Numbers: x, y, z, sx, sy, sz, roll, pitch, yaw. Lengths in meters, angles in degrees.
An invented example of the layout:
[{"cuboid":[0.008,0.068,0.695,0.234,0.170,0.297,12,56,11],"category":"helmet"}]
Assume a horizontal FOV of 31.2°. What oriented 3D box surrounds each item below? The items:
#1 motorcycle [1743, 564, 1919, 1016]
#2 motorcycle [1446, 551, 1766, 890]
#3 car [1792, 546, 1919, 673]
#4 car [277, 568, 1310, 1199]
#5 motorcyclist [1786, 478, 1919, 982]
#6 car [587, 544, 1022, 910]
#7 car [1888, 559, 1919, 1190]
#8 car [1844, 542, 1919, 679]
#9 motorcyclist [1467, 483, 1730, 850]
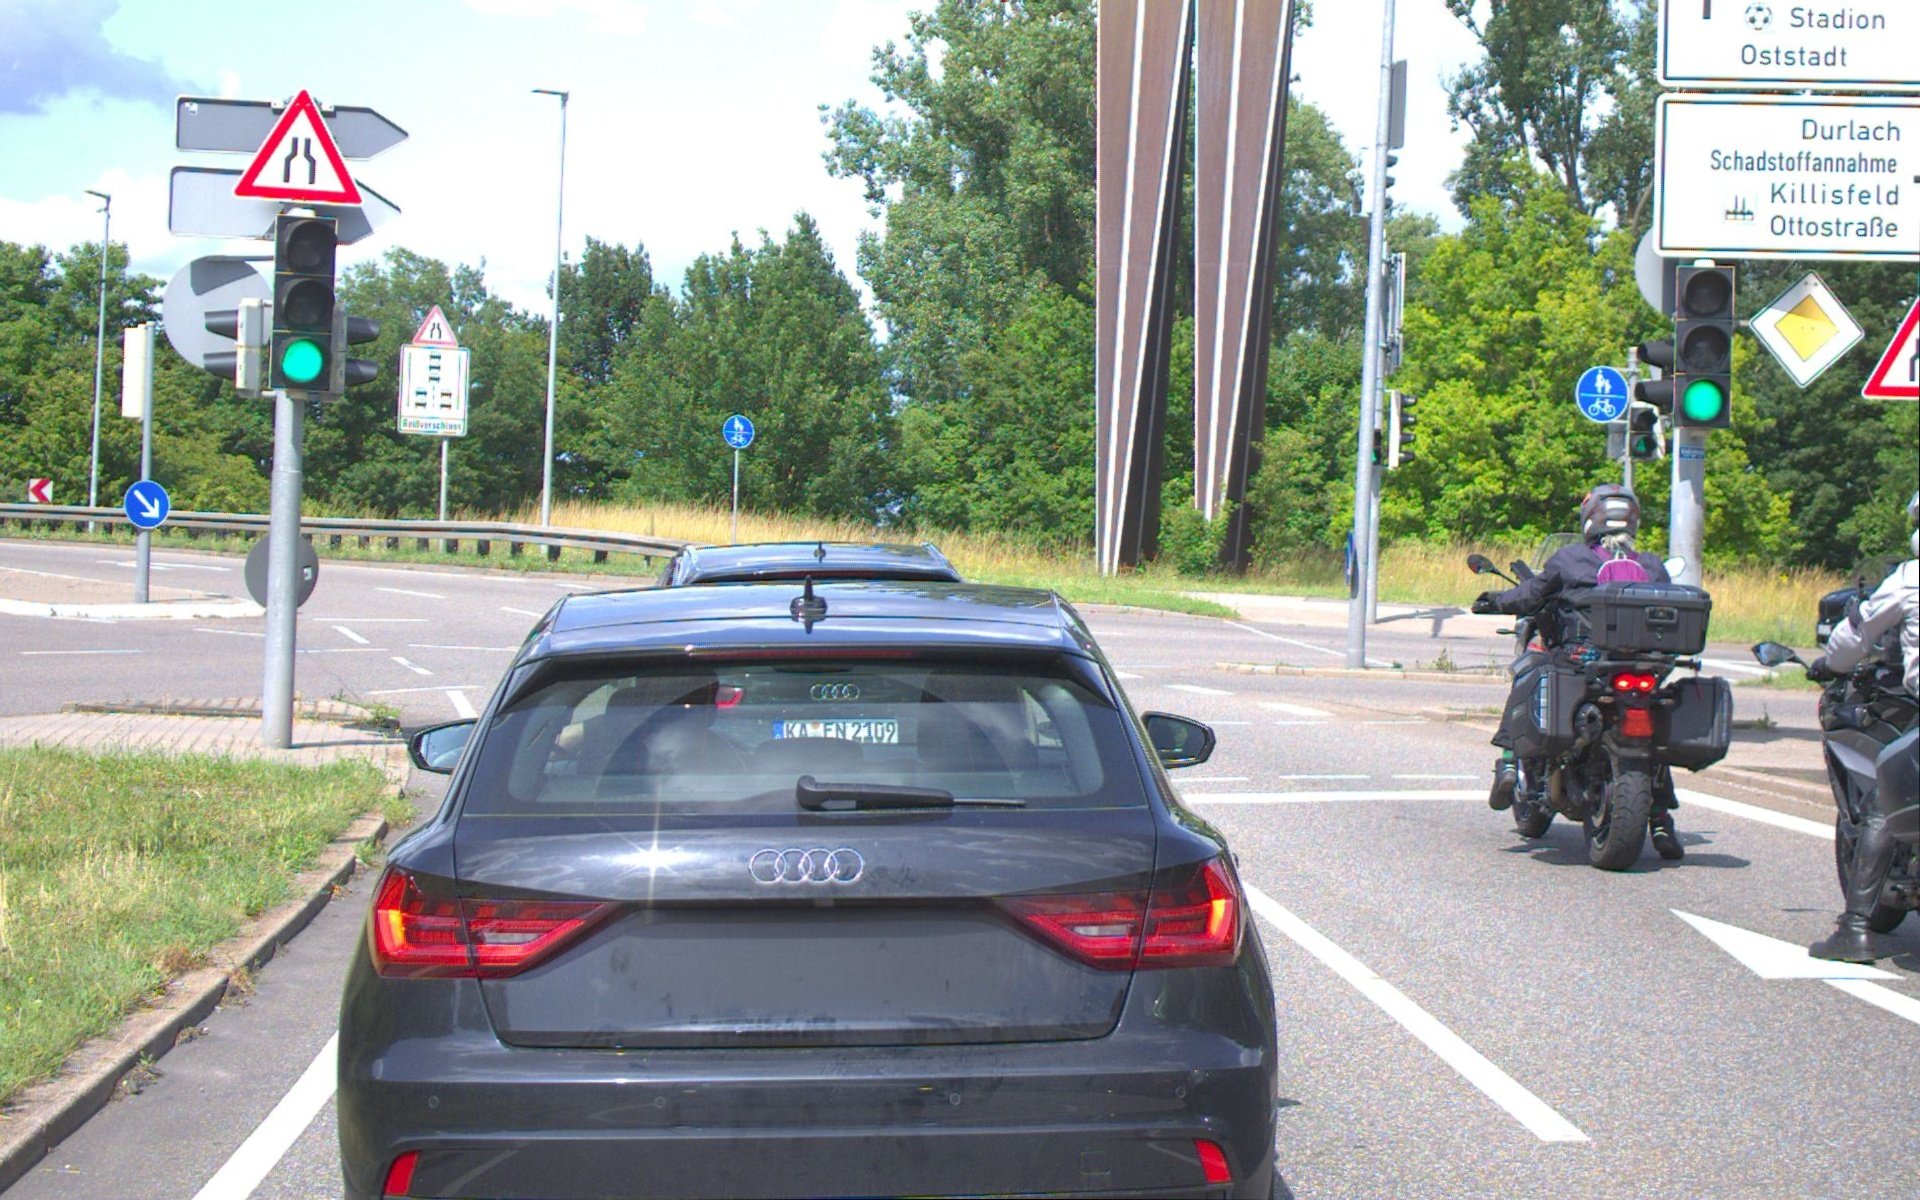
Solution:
[{"cuboid":[3.462,0.599,11.959,0.865,1.384,2.370,2,1,-1],"category":"motorcycle"},{"cuboid":[2.867,0.487,15.559,0.936,1.378,2.370,1,1,-1],"category":"motorcycle"},{"cuboid":[13.257,0.166,43.750,4.847,1.539,1.737,2,1,-1],"category":"car"},{"cuboid":[-0.300,0.660,7.756,1.726,1.399,4.000,0,1,-1],"category":"car"},{"cuboid":[3.463,0.437,12.027,0.865,1.694,0.894,2,1,-1],"category":"motorcyclist"},{"cuboid":[-0.772,0.472,15.593,1.726,1.418,3.845,0,1,-5],"category":"car"},{"cuboid":[3.184,0.705,6.268,1.731,1.471,4.047,2,1,-2],"category":"car"},{"cuboid":[12.649,0.165,39.897,4.268,1.539,1.737,2,1,-1],"category":"car"},{"cuboid":[2.870,0.280,15.567,0.936,1.585,1.083,1,1,-1],"category":"motorcyclist"}]
